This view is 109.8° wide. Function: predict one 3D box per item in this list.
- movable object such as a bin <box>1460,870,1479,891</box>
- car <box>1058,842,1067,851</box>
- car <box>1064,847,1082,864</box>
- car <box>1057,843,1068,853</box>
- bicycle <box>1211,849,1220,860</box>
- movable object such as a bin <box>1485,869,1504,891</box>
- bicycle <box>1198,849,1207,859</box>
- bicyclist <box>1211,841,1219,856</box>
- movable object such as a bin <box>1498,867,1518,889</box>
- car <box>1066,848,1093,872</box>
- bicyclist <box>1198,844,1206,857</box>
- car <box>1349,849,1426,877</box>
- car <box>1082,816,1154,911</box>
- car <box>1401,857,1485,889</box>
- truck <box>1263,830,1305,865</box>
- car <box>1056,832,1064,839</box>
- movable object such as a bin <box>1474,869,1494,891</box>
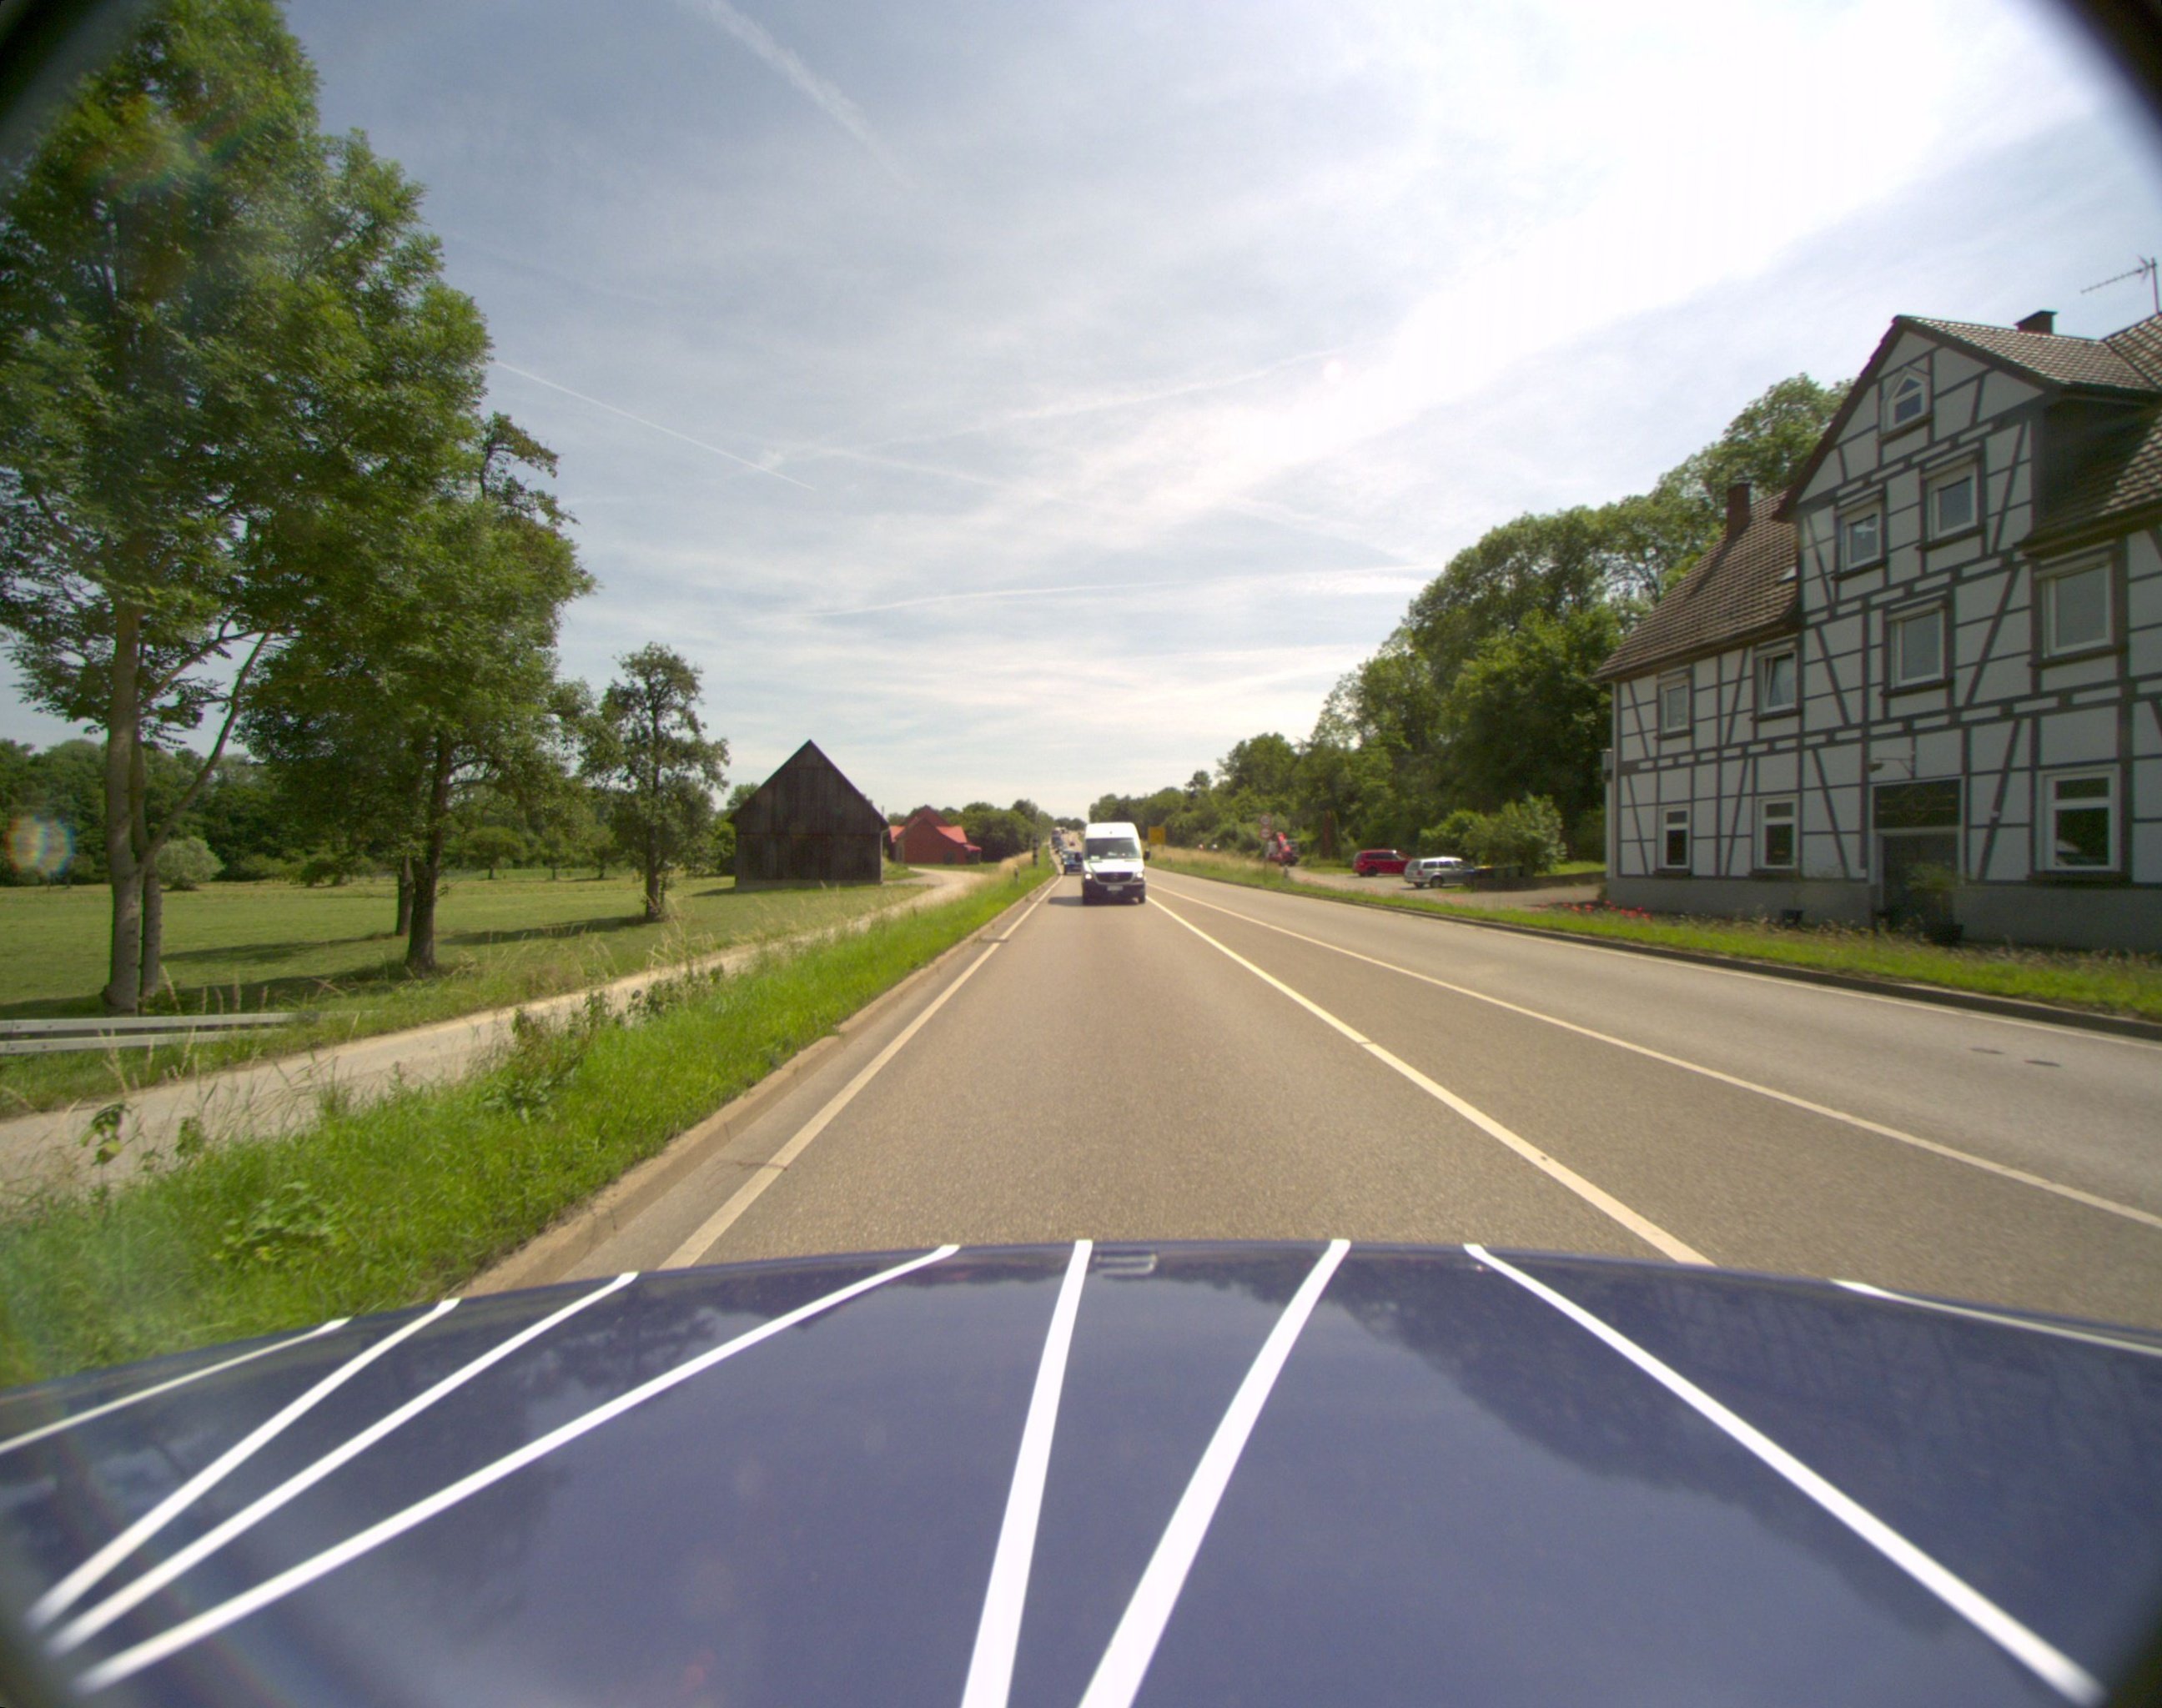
[{"bbox_3d":[17.878,1.209,34.942,0.505,0.931,0.654,-1,2,-8],"label":"movable object such as a bin"},{"bbox_3d":[-3.669,-1.503,149.679,1.849,1.692,4.240,0,2,-2],"label":"car"},{"bbox_3d":[-0.884,0.149,85.487,1.849,1.692,4.240,0,2,-3],"label":"car"},{"bbox_3d":[-3.231,-1.030,131.057,1.849,1.692,4.240,0,2,-2],"label":"car"},{"bbox_3d":[15.755,0.044,89.212,0.750,1.174,2.105,-2,1,3],"label":"bicycle"},{"bbox_3d":[19.069,1.188,35.037,0.505,0.965,0.654,-1,2,-8],"label":"movable object such as a bin"},{"bbox_3d":[14.794,0.024,92.814,0.750,1.205,2.104,-2,1,1],"label":"bicycle"},{"bbox_3d":[15.732,-0.632,89.194,0.750,1.705,0.936,-2,1,3],"label":"bicyclist"},{"bbox_3d":[19.699,1.124,35.083,0.505,0.971,0.654,-1,2,-8],"label":"movable object such as a bin"},{"bbox_3d":[-0.102,0.441,55.092,1.848,1.692,4.243,0,-1,0],"label":"car"},{"bbox_3d":[14.774,-0.406,92.788,0.750,1.586,0.936,-2,1,1],"label":"bicyclist"},{"bbox_3d":[19.109,0.533,47.438,4.037,1.609,1.833,-1,1,1],"label":"car"},{"bbox_3d":[1.052,0.254,24.409,1.960,2.655,5.680,-2,0,0],"label":"car"},{"bbox_3d":[17.826,0.918,37.481,3.387,1.457,1.609,-2,1,-6],"label":"car"},{"bbox_3d":[18.222,-0.590,68.445,2.031,2.946,6.772,-2,1,1],"label":"truck"},{"bbox_3d":[-6.194,-5.375,221.389,1.998,2.166,4.000,-2,1,1],"label":"car"},{"bbox_3d":[18.506,1.173,34.901,0.505,0.964,0.654,-1,2,-8],"label":"movable object such as a bin"}]
